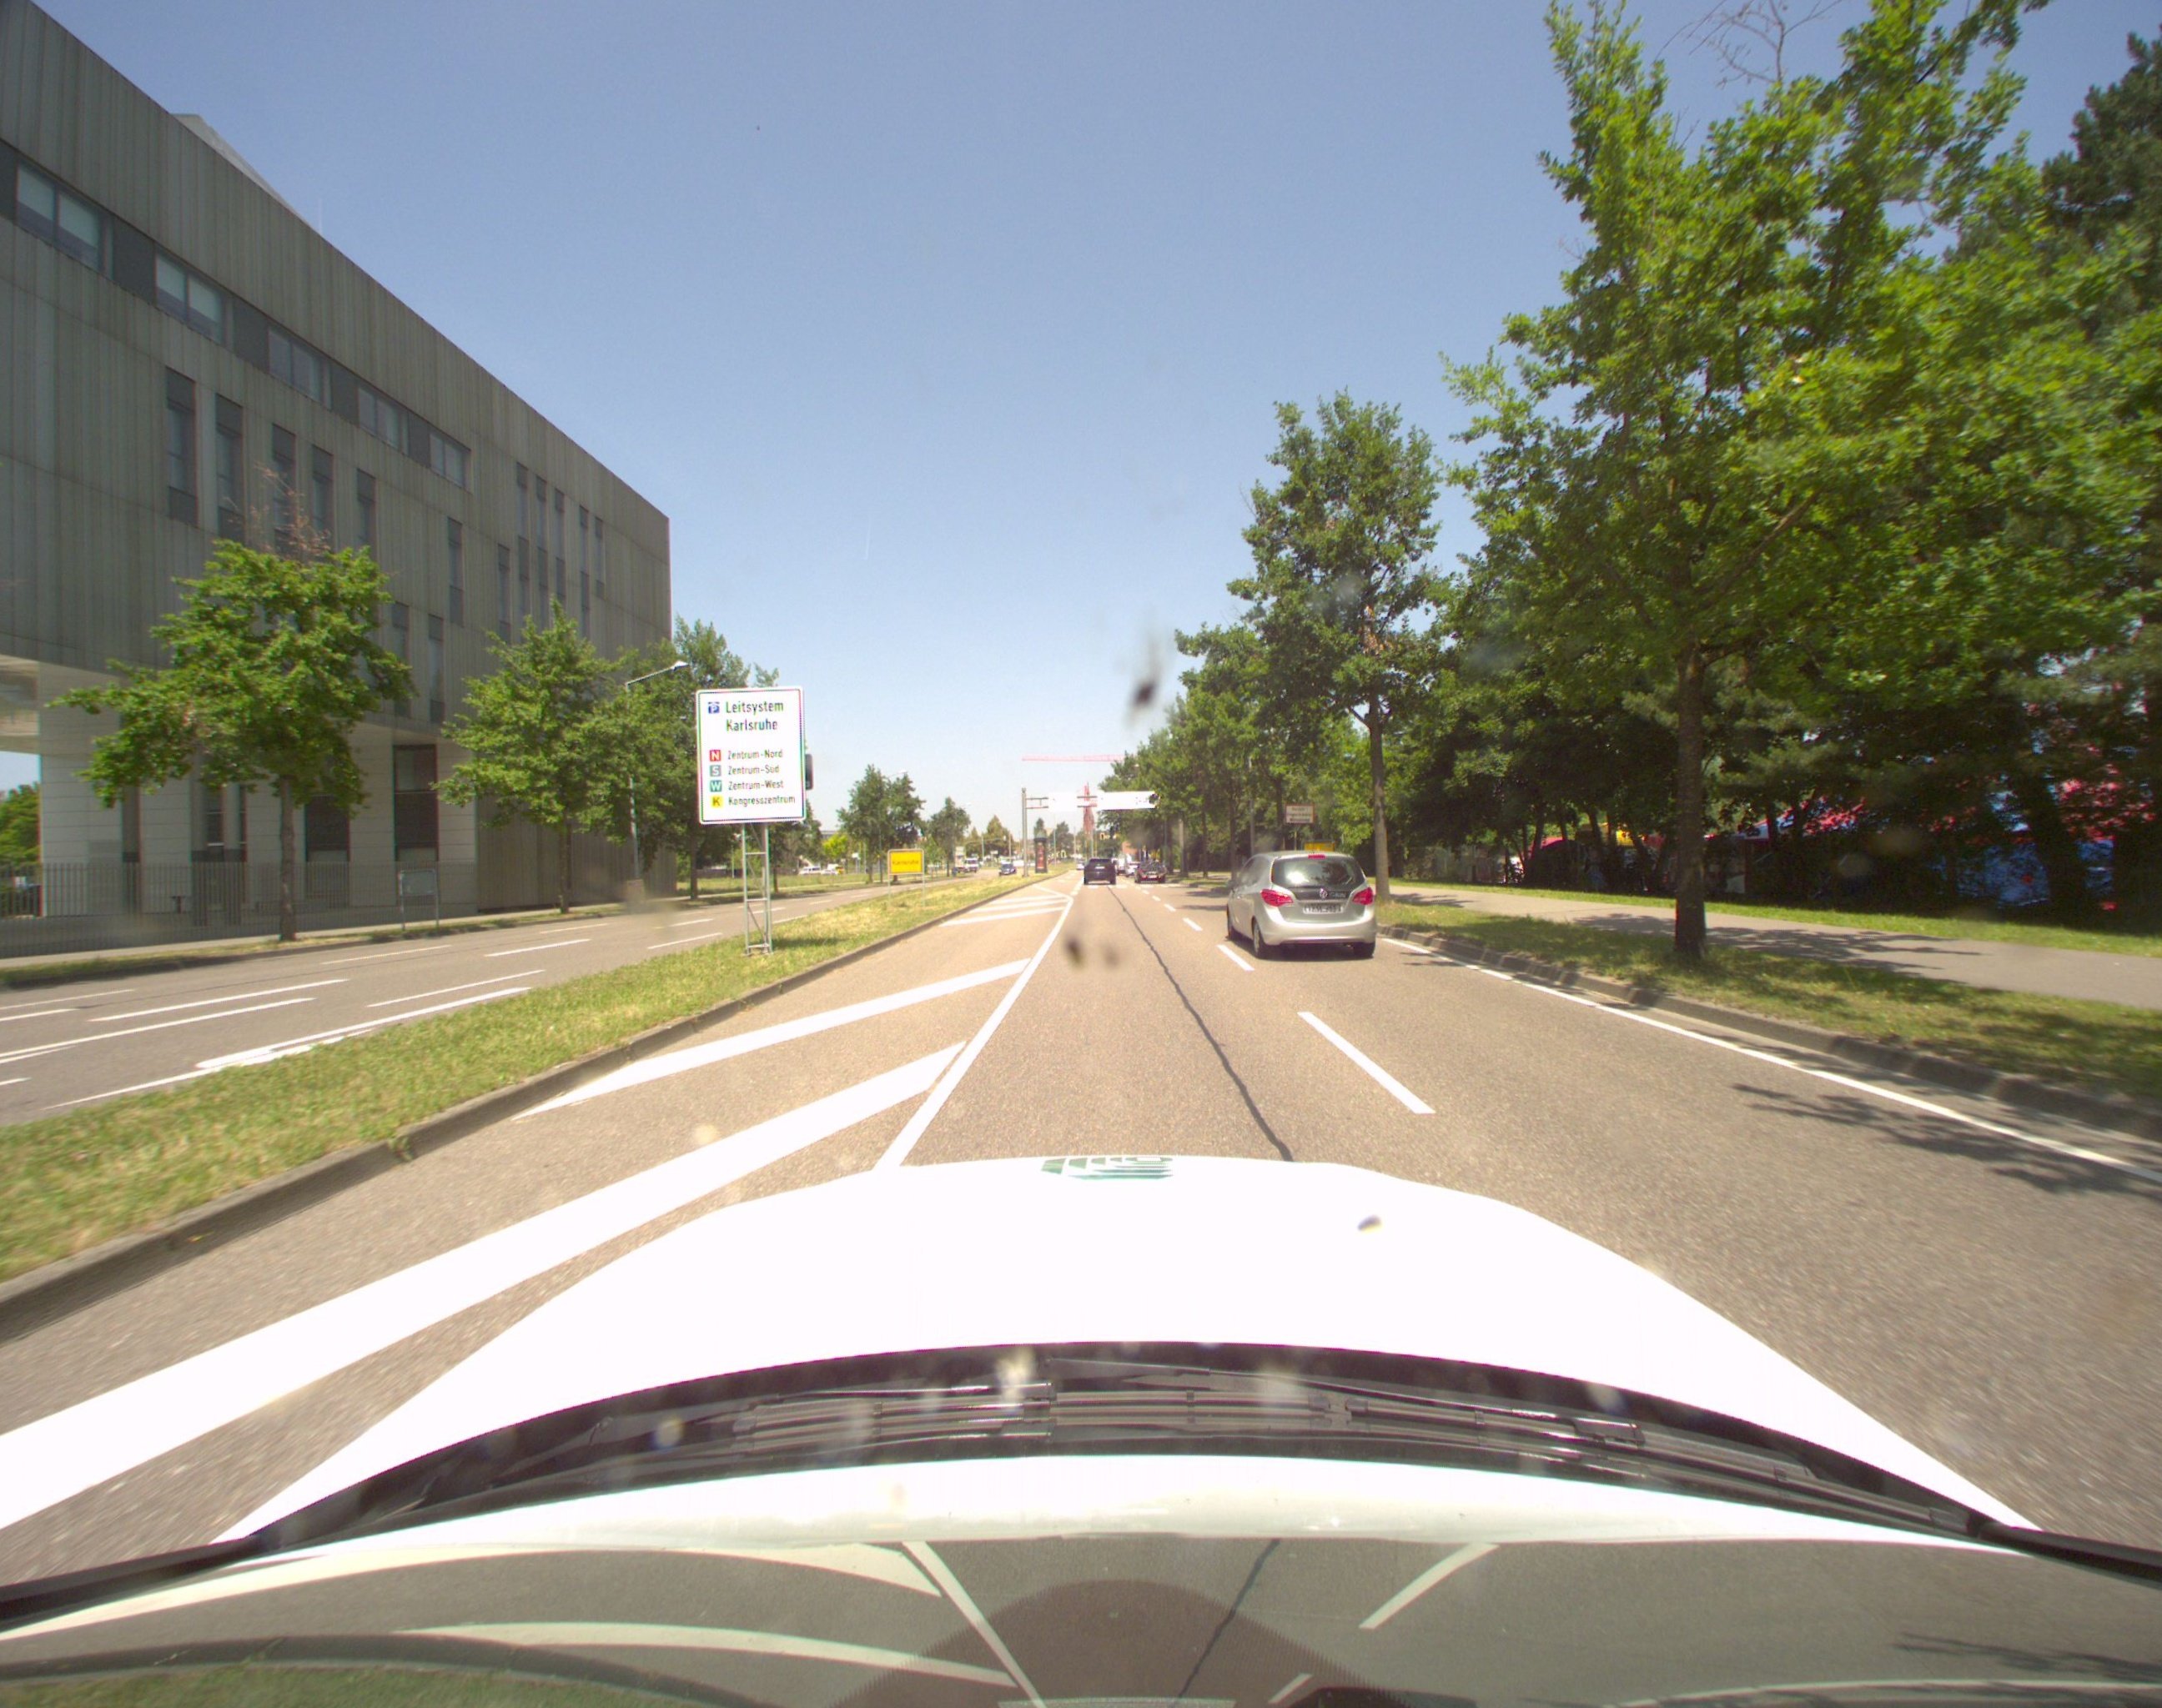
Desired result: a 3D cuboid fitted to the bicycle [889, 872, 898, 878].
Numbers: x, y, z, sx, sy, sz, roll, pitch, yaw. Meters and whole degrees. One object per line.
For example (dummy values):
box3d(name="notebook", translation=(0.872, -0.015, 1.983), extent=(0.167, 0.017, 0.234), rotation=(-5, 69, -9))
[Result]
box3d(name="bicycle", translation=(-22.144, 2.465, 96.137), extent=(0.479, 0.715, 1.852), rotation=(-2, -1, 4))

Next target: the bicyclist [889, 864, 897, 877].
box3d(name="bicyclist", translation=(-22.167, 1.972, 95.940), extent=(0.620, 1.489, 0.757), rotation=(-2, -1, 4))

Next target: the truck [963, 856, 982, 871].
box3d(name="truck", translation=(-19.387, 1.717, 145.895), extent=(2.631, 2.576, 6.314), rotation=(-2, 0, -1))

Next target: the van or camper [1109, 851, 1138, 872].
box3d(name="van or camper", translation=(4.845, 0.880, 93.250), extent=(2.491, 2.291, 4.908), rotation=(-2, -1, -7))

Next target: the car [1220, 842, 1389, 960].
box3d(name="car", translation=(3.431, 0.653, 13.229), extent=(1.785, 1.612, 3.893), rotation=(-1, 0, 2))

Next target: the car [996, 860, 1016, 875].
box3d(name="car", translation=(-9.084, 1.630, 98.766), extent=(1.887, 1.610, 4.532), rotation=(-4, 0, -1))

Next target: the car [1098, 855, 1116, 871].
box3d(name="car", translation=(3.447, 1.214, 109.025), extent=(1.990, 2.014, 3.994), rotation=(-1, 0, -4))

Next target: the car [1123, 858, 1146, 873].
box3d(name="car", translation=(5.096, 1.090, 78.472), extent=(1.651, 1.356, 4.454), rotation=(-2, -1, -4))

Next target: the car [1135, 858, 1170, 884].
box3d(name="car", translation=(4.441, 1.051, 51.325), extent=(2.006, 1.517, 4.464), rotation=(-2, 0, 3))

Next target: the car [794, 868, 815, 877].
box3d(name="car", translation=(-63.456, 4.215, 187.025), extent=(1.974, 1.878, 4.317), rotation=(-2, -1, 31))

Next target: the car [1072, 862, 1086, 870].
box3d(name="car", translation=(-0.345, 1.952, 134.393), extent=(1.989, 1.321, 3.995), rotation=(-1, 0, -4))

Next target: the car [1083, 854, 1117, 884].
box3d(name="car", translation=(1.203, 0.872, 49.467), extent=(1.990, 1.689, 4.036), rotation=(-1, 0, 2))
